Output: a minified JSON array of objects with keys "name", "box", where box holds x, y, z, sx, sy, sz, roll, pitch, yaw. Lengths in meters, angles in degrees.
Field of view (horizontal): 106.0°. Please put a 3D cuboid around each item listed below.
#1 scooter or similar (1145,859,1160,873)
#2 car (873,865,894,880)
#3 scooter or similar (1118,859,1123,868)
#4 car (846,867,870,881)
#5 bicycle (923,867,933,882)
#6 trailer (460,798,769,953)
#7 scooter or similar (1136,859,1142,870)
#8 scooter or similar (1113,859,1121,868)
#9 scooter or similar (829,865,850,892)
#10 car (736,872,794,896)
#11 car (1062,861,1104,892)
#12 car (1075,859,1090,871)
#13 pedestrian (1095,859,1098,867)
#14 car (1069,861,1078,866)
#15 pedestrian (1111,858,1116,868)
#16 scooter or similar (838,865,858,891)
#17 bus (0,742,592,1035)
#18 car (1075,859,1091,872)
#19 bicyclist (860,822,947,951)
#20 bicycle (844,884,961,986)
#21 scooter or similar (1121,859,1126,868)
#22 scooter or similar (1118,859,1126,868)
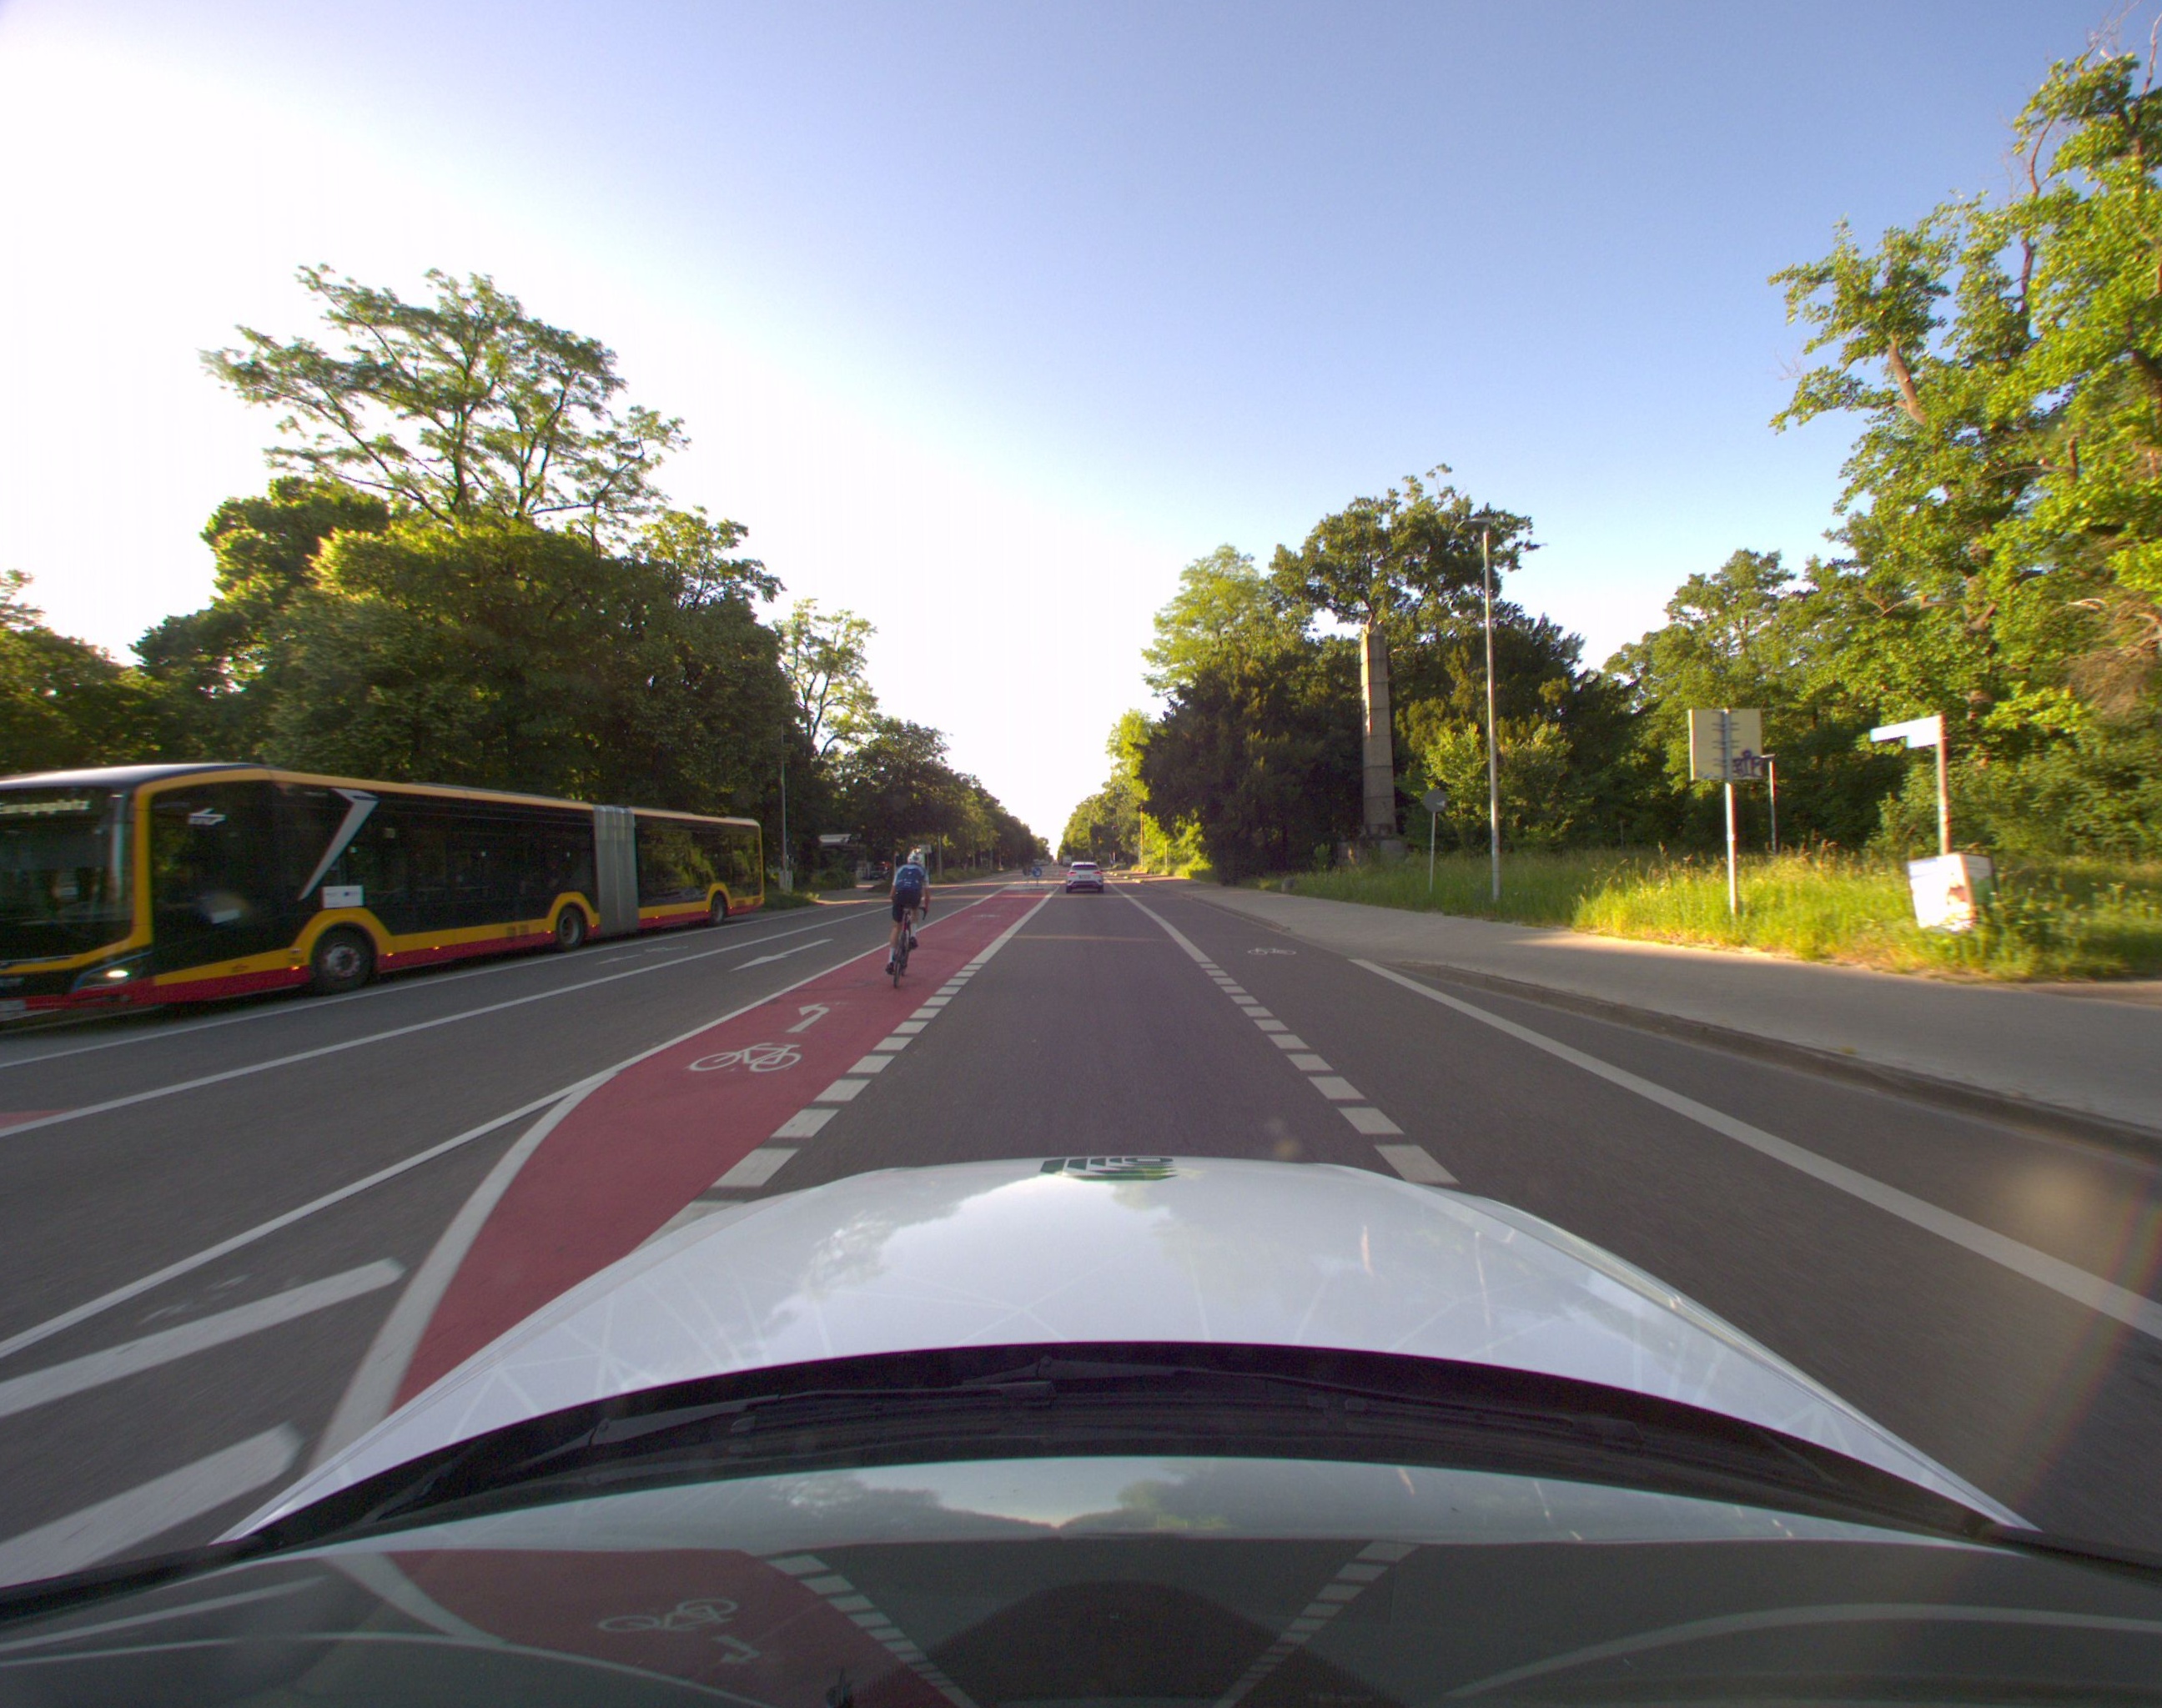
[{"name":"scooter or similar","box":[6.978,1.162,79.802,1.550,1.250,0.528,-1,-1,-45]},{"name":"car","box":[-23.101,2.129,95.384,1.708,1.691,4.445,-2,0,-5]},{"name":"scooter or similar","box":[6.440,1.514,132.413,0.680,1.423,1.681,-2,-1,-1]},{"name":"car","box":[-27.300,2.432,99.888,1.706,1.498,4.574,-2,0,-2]},{"name":"bicycle","box":[-13.425,1.812,71.323,0.653,1.250,2.154,-2,0,-6]},{"name":"trailer","box":[-11.891,0.509,22.308,2.844,3.355,9.364,0,-1,1]},{"name":"scooter or similar","box":[6.988,1.278,97.653,0.531,1.250,1.540,-2,-1,-1]},{"name":"scooter or similar","box":[5.824,1.531,131.082,0.683,1.423,1.672,-2,-1,-17]},{"name":"scooter or similar","box":[-16.440,1.663,55.487,0.825,1.717,1.740,-2,-1,0]},{"name":"car","box":[-22.099,2.072,56.970,1.542,1.400,3.513,-5,-2,30]},{"name":"car","box":[0.061,1.082,40.497,1.758,1.459,3.811,0,-1,-5]},{"name":"car","box":[0.152,1.308,100.826,1.670,1.417,3.575,-2,0,2]},{"name":"pedestrian","box":[3.639,2.113,189.201,0.696,1.653,0.875,-2,-1,-2]},{"name":"car","box":[-2.003,2.538,221.241,1.990,1.327,3.993,-2,0,-5]},{"name":"pedestrian","box":[5.247,1.436,132.602,0.751,1.563,0.803,-2,-1,4]},{"name":"scooter or similar","box":[-16.409,1.687,57.430,0.825,1.717,1.740,-2,-1,0]},{"name":"bus","box":[-12.092,0.441,13.308,2.830,3.197,8.600,-2,0,1]},{"name":"car","box":[0.227,1.421,101.586,1.988,1.519,3.998,-2,0,-1]},{"name":"bicyclist","box":[-2.240,0.402,10.384,0.856,1.567,0.882,0,0,4]},{"name":"bicycle","box":[-2.220,0.976,10.460,0.887,1.095,2.138,0,0,4]},{"name":"scooter or similar","box":[6.436,1.454,123.399,0.680,1.423,1.680,-2,-1,-2]},{"name":"scooter or similar","box":[6.423,1.479,127.350,0.683,1.423,1.673,-2,-1,-15]}]
